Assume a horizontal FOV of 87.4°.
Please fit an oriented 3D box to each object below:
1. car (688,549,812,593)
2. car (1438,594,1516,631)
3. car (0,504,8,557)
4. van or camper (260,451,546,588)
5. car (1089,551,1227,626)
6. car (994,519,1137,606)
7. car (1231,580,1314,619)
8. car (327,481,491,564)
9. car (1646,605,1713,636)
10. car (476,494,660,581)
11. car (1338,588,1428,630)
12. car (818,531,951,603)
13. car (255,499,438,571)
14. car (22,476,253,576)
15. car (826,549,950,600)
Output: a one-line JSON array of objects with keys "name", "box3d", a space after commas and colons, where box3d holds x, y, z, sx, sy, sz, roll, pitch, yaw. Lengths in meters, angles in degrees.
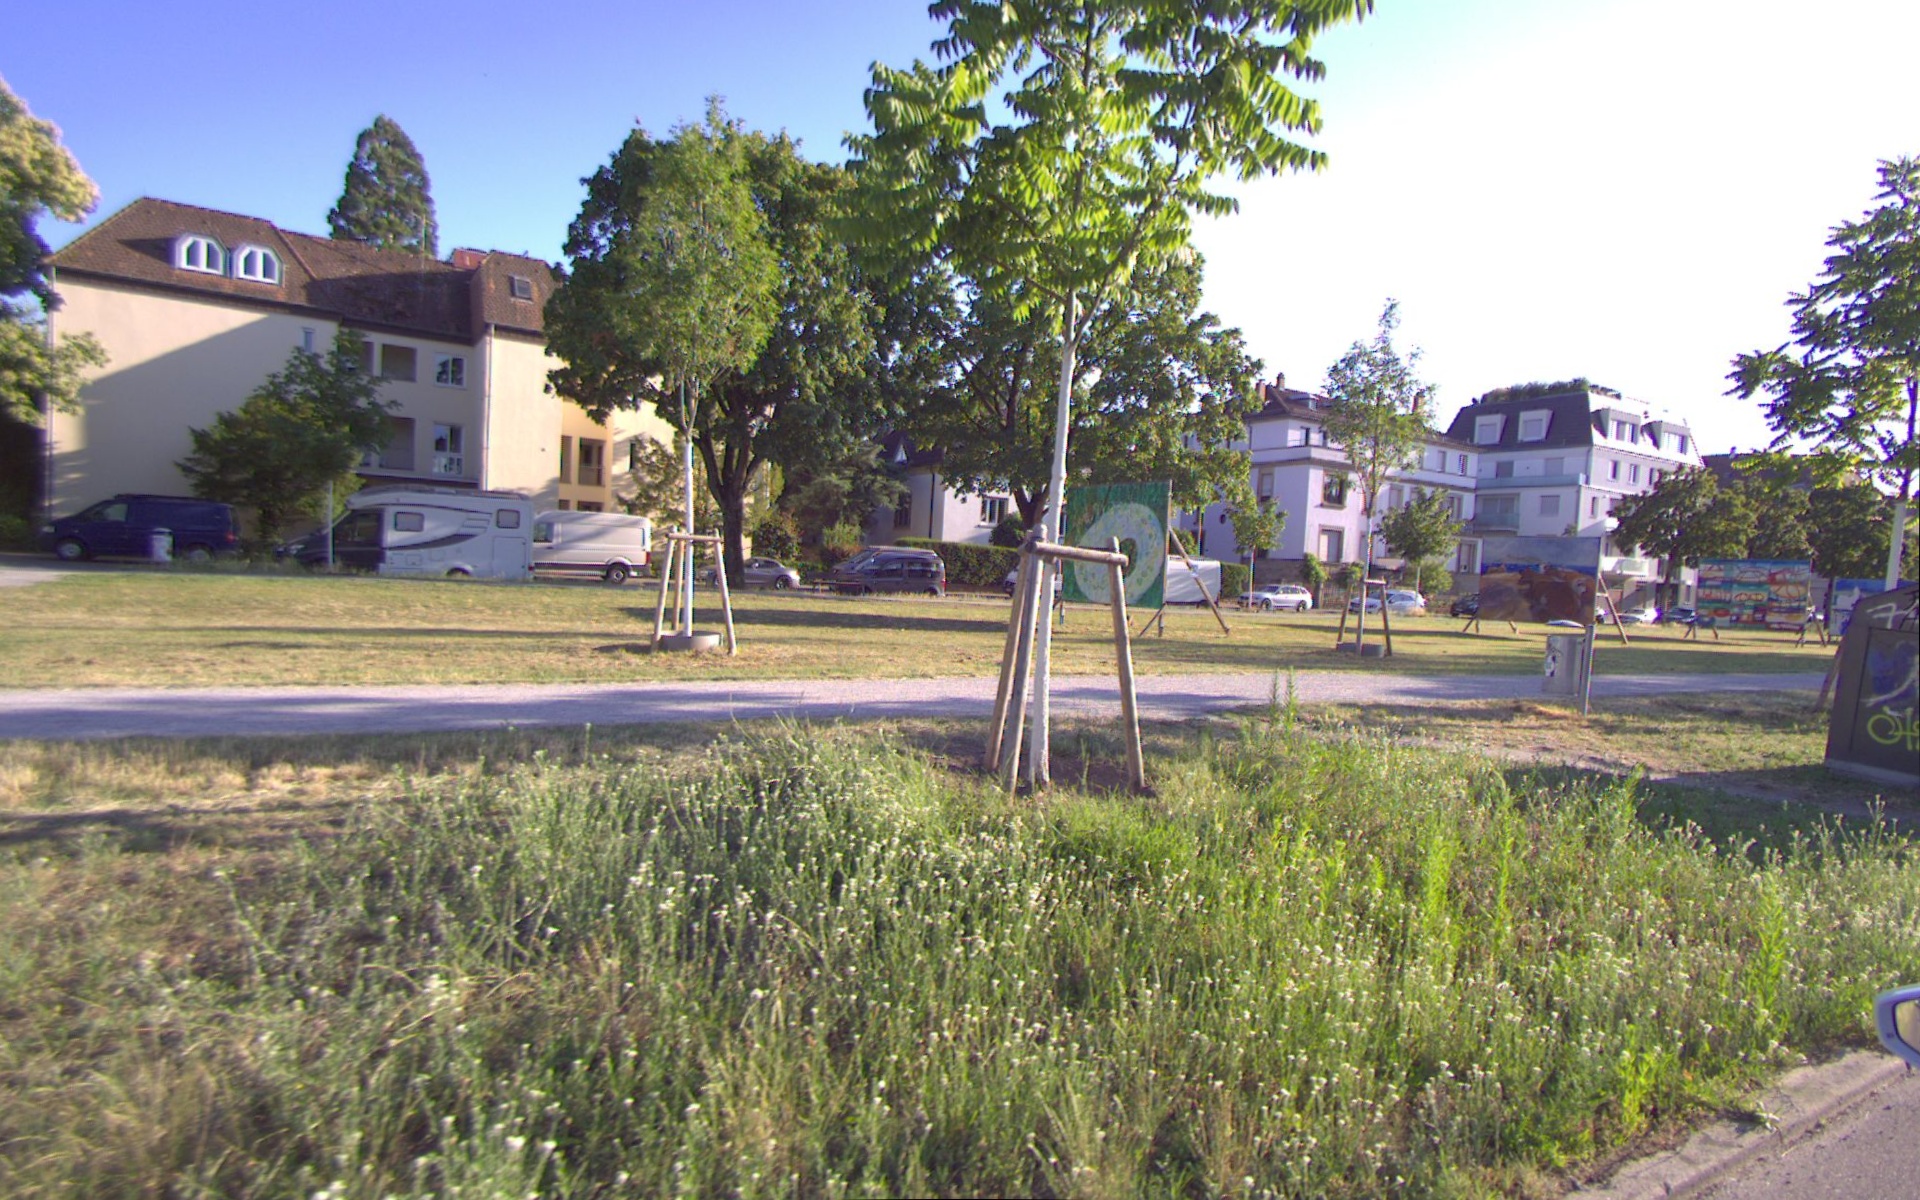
[{"name": "car", "box3d": [-8.451, -1.119, 40.420, 4.503, 1.421, 1.987, 3, -2, -27]}, {"name": "car", "box3d": [33.846, 0.828, 65.707, 4.795, 2.159, 2.228, 3, -2, -29]}, {"name": "car", "box3d": [-29.349, -2.059, 27.945, 3.767, 1.563, 1.982, 2, 2, -32]}, {"name": "van or camper", "box3d": [-15.765, -2.183, 28.880, 6.822, 3.306, 2.629, 2, 2, -30]}, {"name": "car", "box3d": [8.598, -0.422, 43.458, 5.802, 2.863, 2.250, 3, -2, -30]}, {"name": "car", "box3d": [5.091, -1.672, 48.032, 6.687, 3.605, 2.292, 3, -2, -30]}, {"name": "car", "box3d": [17.312, 0.006, 55.579, 4.660, 1.878, 1.721, 3, -2, -31]}, {"name": "car", "box3d": [-15.765, -2.183, 28.880, 3.952, 2.041, 1.984, 2, 2, -30]}, {"name": "car", "box3d": [47.949, 1.371, 66.891, 4.637, 1.852, 1.919, 3, -2, -30]}, {"name": "car", "box3d": [-14.427, -2.203, 37.125, 6.020, 2.631, 1.984, 3, -2, -31]}, {"name": "car", "box3d": [21.723, 0.473, 51.596, 4.587, 1.924, 1.825, 3, -2, -29]}, {"name": "car", "box3d": [-3.231, -1.341, 43.274, 5.268, 2.638, 2.124, 3, -2, -32]}, {"name": "car", "box3d": [-20.223, -2.117, 33.381, 4.989, 2.031, 1.960, 2, 2, -30]}, {"name": "car", "box3d": [-24.793, -2.146, 30.565, 5.057, 2.450, 1.928, 3, -2, -30]}, {"name": "car", "box3d": [-2.586, -0.914, 36.462, 4.261, 1.585, 1.406, 2, 2, -31]}]
